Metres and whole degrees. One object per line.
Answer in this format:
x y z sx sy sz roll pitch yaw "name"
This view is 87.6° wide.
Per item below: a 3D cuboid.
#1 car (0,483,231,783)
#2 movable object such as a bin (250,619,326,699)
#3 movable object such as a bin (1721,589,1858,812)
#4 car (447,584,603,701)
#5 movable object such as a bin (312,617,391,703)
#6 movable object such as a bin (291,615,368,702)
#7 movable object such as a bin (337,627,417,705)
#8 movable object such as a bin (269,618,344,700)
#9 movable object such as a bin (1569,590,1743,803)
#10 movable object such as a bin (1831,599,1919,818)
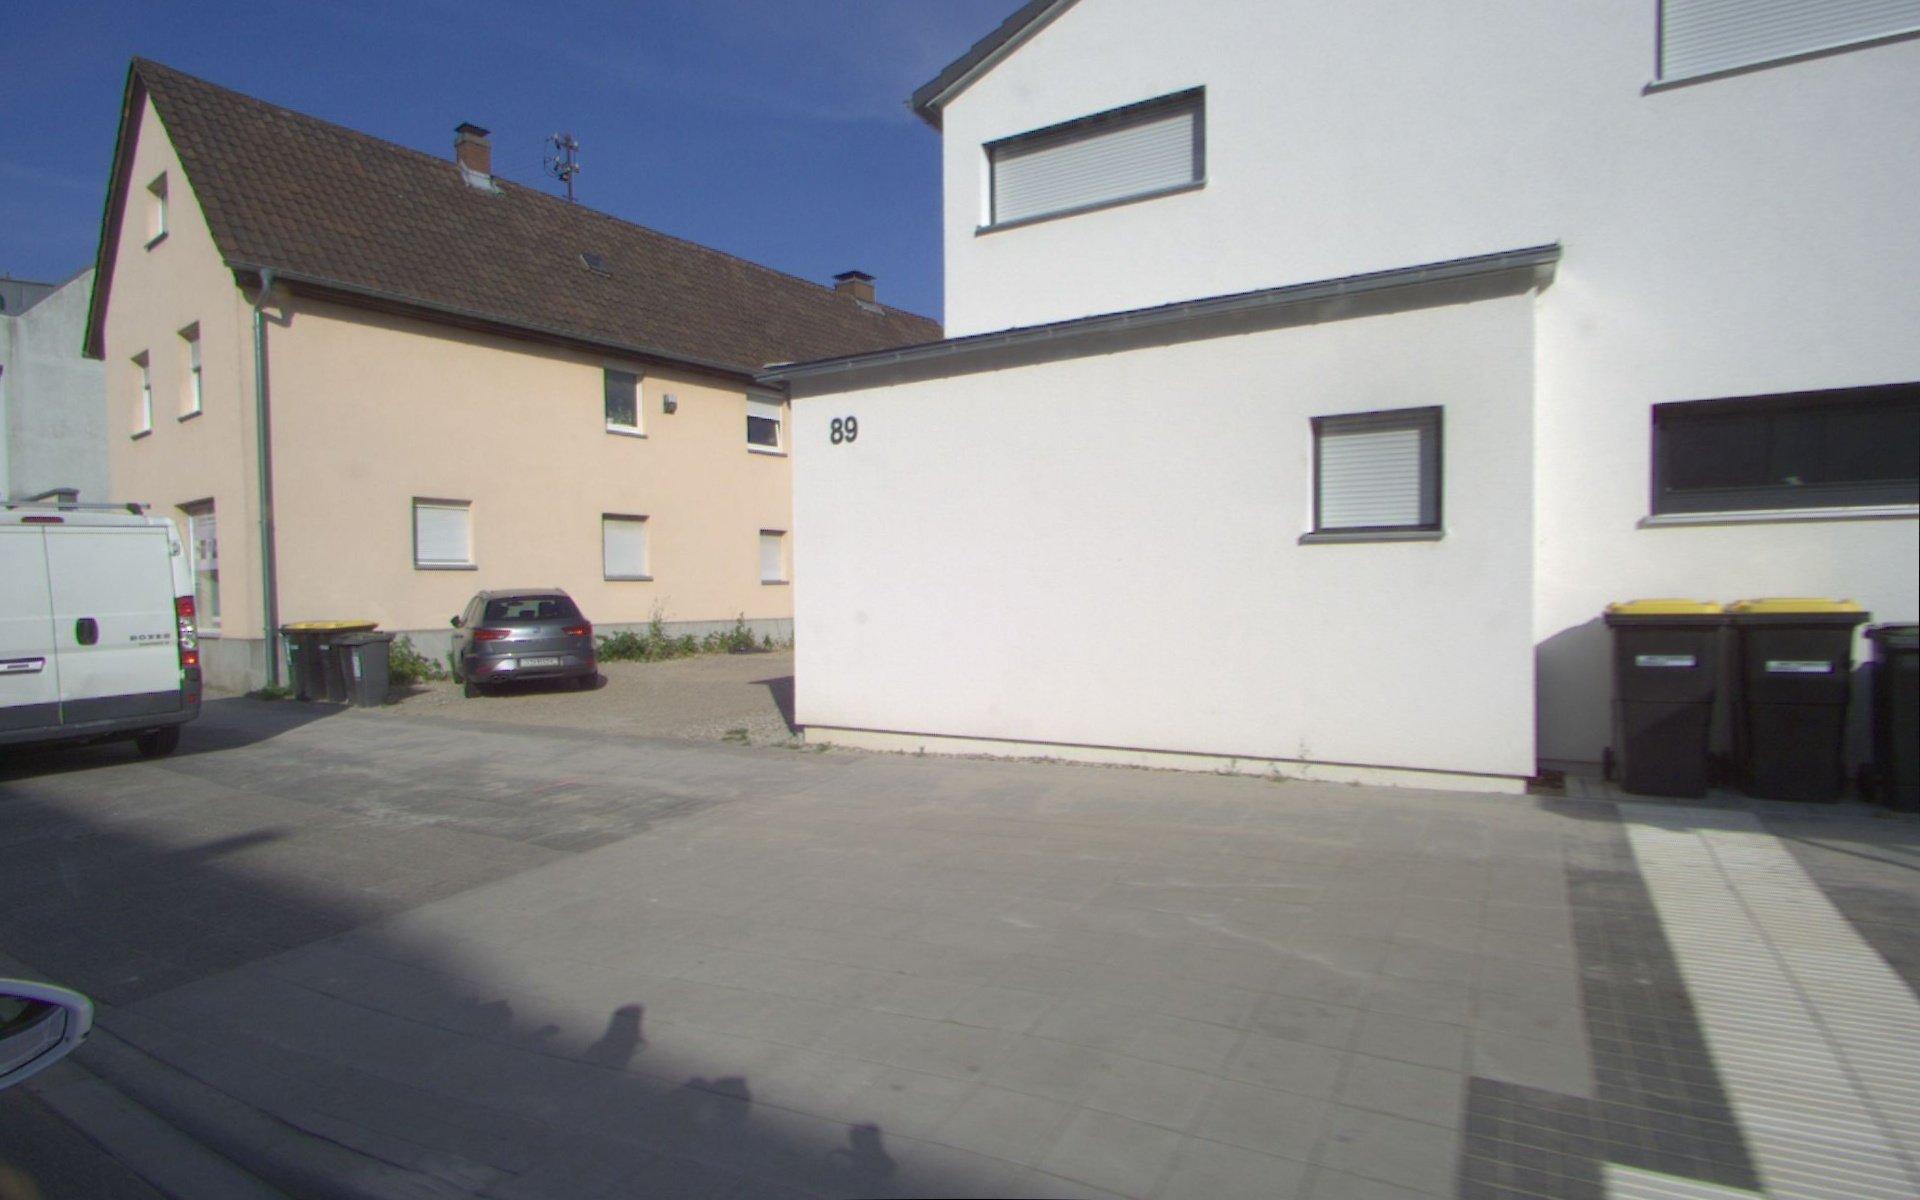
-9.325 0.251 9.635 4.929 2.359 2.167 0 2 35 "car"
-9.744 0.834 14.523 0.617 1.108 0.725 0 1 35 "movable object such as a bin"
4.498 0.504 5.470 0.436 1.108 0.810 0 2 30 "movable object such as a bin"
-6.499 0.504 14.723 1.637 1.426 3.957 -2 2 -30 "car"
-8.198 0.790 13.500 0.546 1.108 0.725 0 1 35 "movable object such as a bin"
-8.705 0.785 13.834 0.546 1.147 0.725 0 1 35 "movable object such as a bin"
-7.630 0.848 13.116 0.546 0.971 0.726 0 1 35 "movable object such as a bin"
-9.247 0.822 14.181 0.546 1.108 0.726 0 1 35 "movable object such as a bin"
3.980 0.509 5.799 0.756 1.108 0.810 0 2 30 "movable object such as a bin"
4.941 0.530 5.209 0.463 1.050 0.810 0 2 30 "movable object such as a bin"
